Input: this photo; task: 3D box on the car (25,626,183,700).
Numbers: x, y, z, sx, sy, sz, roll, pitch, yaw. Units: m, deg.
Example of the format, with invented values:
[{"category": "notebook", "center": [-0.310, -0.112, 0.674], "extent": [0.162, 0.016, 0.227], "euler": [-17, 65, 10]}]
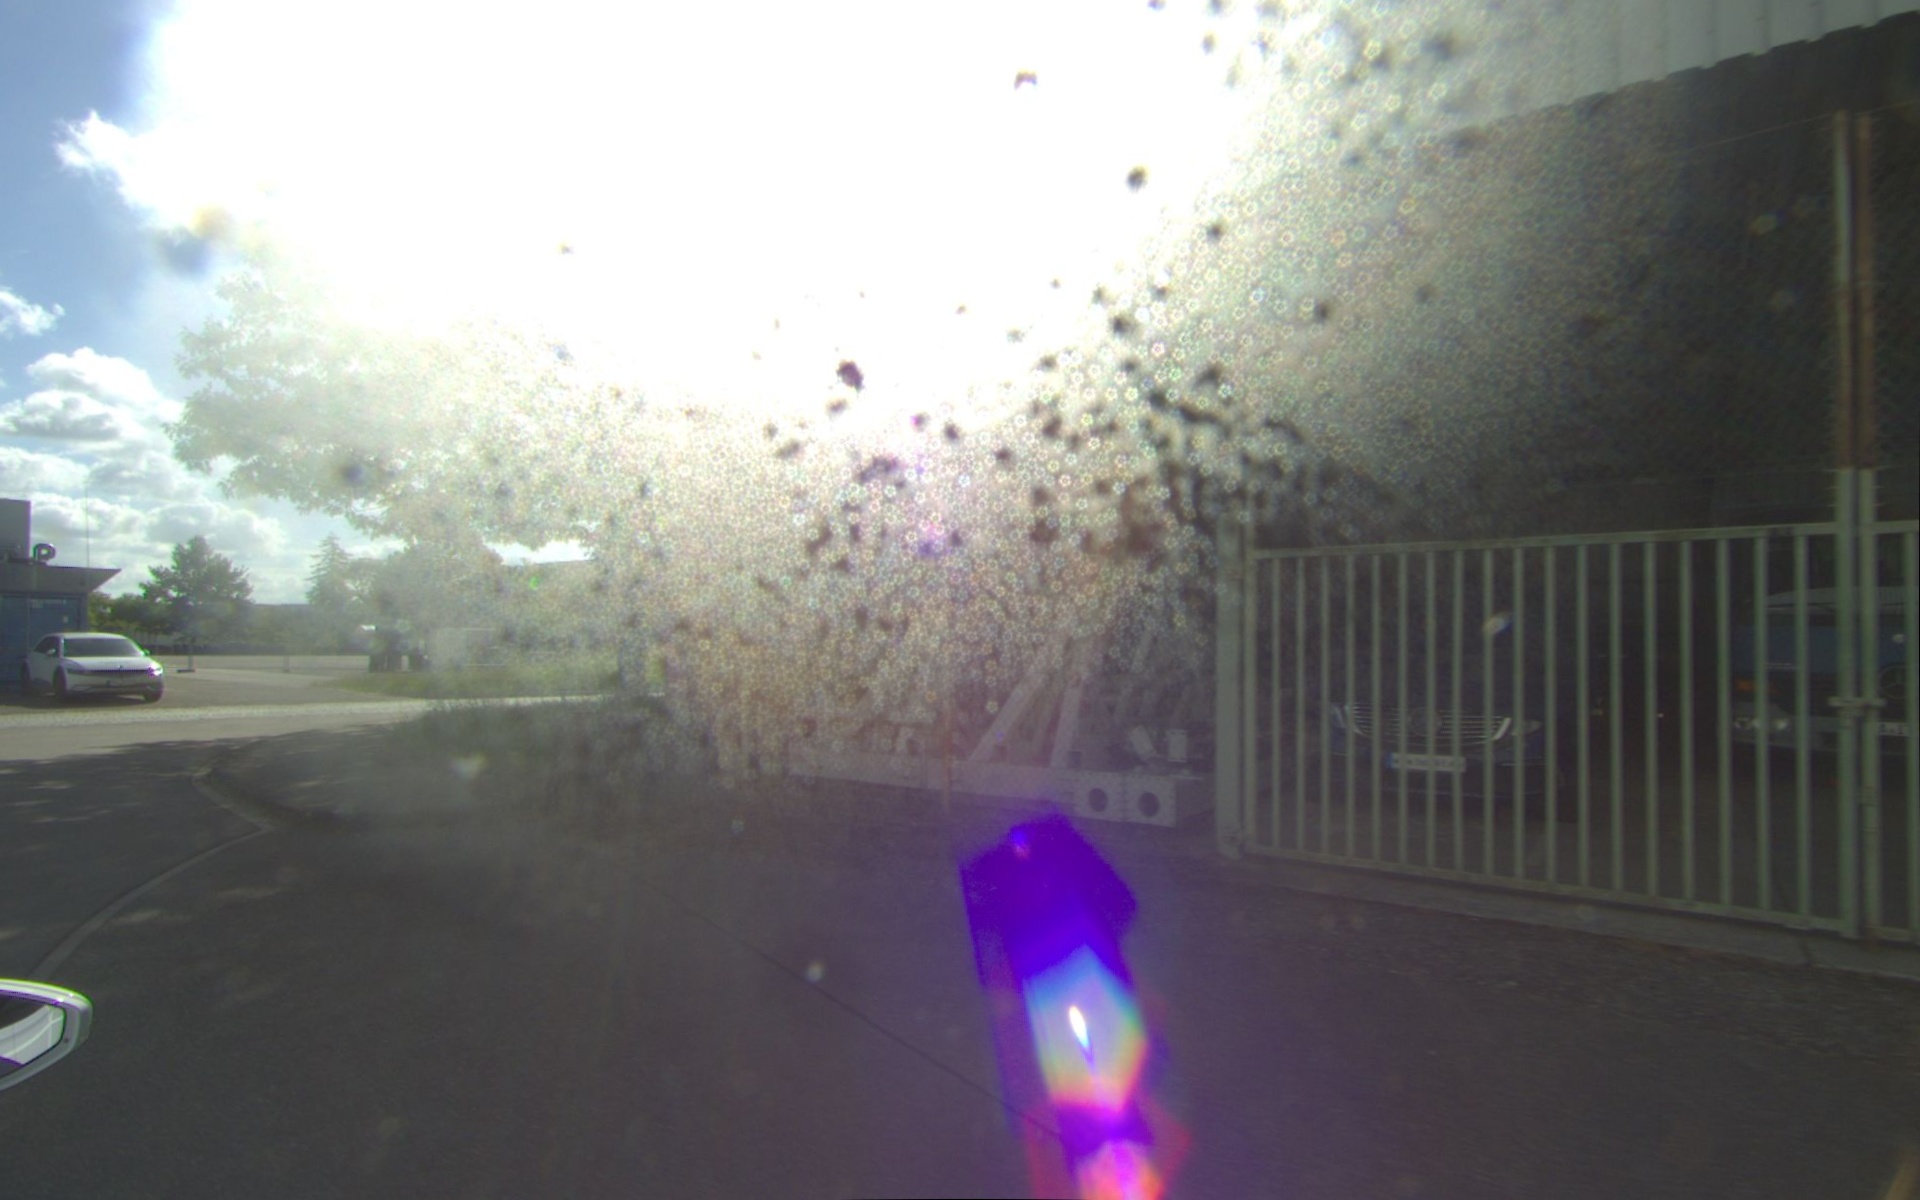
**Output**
[{"category": "car", "center": [-21.237, 1.505, 24.801], "extent": [4.282, 1.613, 1.976], "euler": [0, -2, 36]}]

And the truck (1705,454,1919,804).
[{"category": "truck", "center": [9.094, 0.304, 10.124], "extent": [2.335, 2.740, 5.551], "euler": [-1, -2, 35]}]

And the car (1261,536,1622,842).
[{"category": "car", "center": [4.527, 0.691, 9.176], "extent": [2.245, 1.942, 5.160], "euler": [-1, -3, 30]}]
